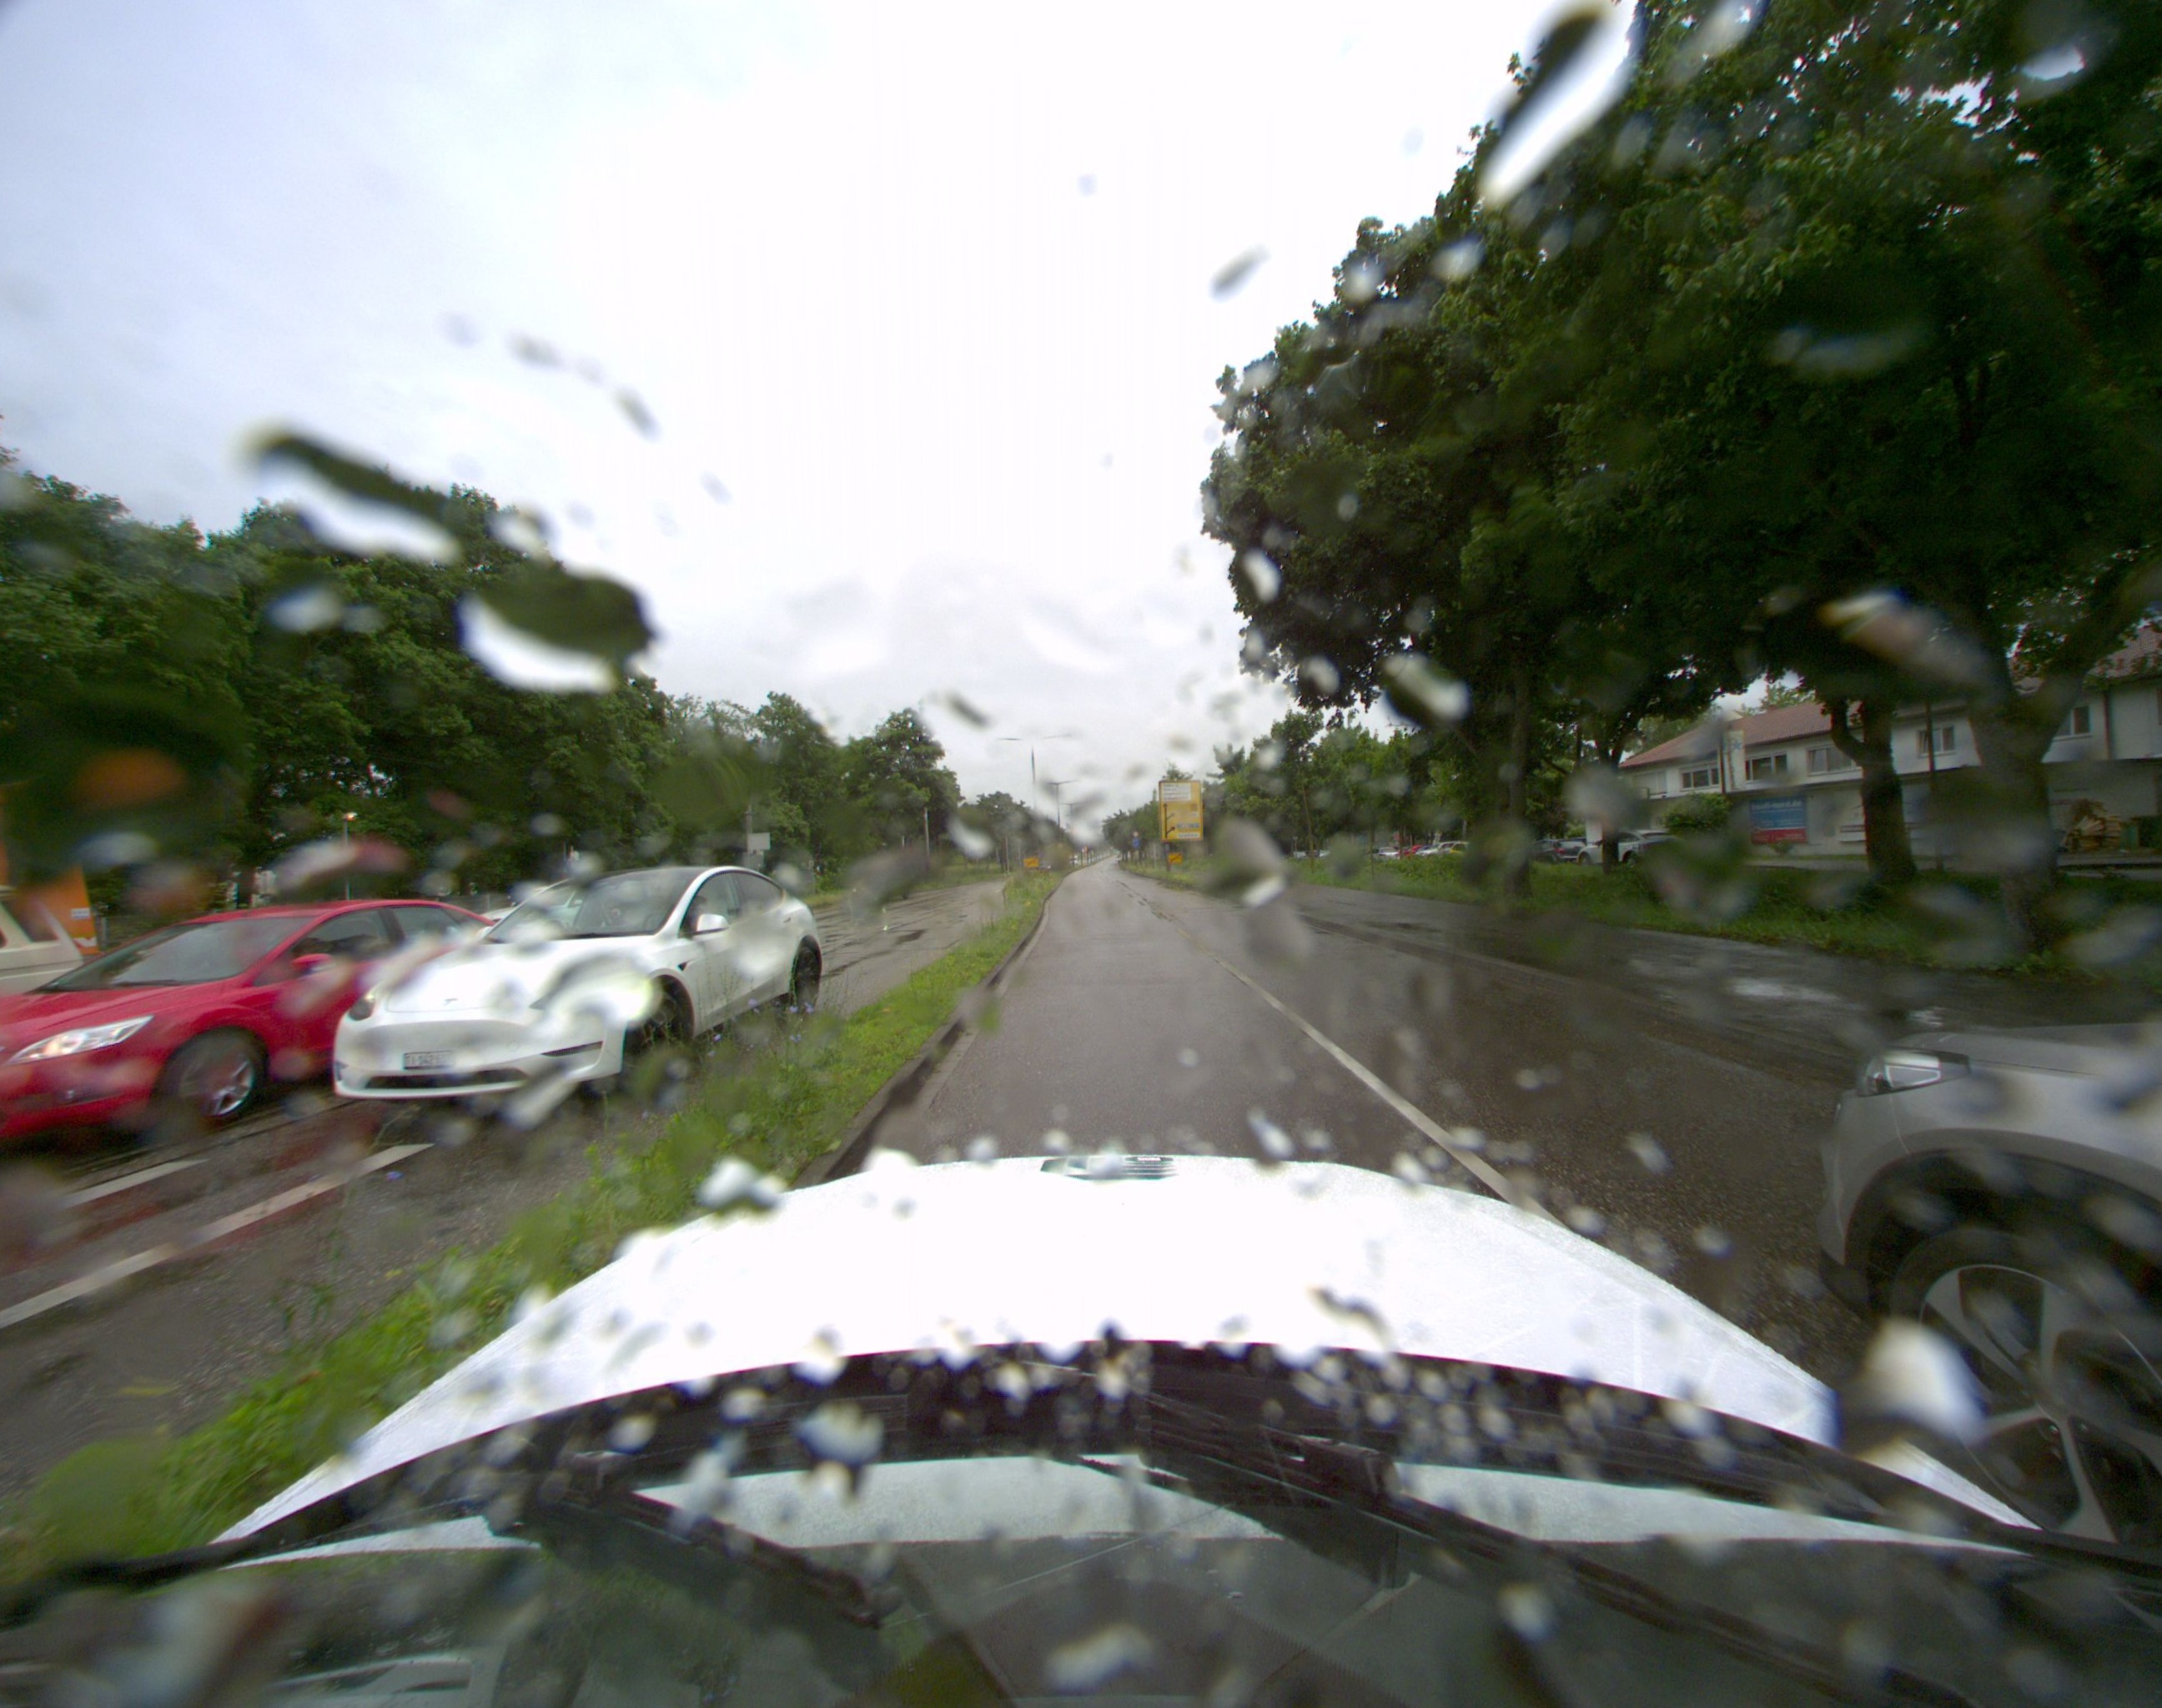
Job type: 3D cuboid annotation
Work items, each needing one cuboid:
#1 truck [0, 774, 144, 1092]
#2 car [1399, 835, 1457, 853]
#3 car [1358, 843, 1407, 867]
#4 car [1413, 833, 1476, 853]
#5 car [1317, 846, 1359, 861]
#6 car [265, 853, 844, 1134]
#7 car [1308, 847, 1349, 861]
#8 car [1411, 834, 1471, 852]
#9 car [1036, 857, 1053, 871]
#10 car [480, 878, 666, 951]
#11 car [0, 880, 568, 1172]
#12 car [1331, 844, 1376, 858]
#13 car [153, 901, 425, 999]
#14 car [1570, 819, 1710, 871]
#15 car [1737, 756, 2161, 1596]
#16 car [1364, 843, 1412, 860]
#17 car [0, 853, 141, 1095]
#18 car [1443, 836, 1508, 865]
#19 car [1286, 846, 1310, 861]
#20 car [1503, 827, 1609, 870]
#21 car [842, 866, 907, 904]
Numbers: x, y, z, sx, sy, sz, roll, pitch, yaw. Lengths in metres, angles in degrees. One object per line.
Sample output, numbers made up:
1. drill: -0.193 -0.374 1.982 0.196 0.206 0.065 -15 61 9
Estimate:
1. truck: -15.971 1.006 7.064 3.372 4.167 10.411 -1 -1 2
2. car: 30.758 -0.914 72.216 4.323 1.484 1.944 -1 -1 -2
3. car: 22.536 0.125 61.057 1.986 1.625 4.644 -3 -1 2
4. car: 29.881 -0.902 67.050 4.323 1.503 1.922 -1 -1 -2
5. car: 31.519 -0.060 99.841 4.558 1.705 1.998 -1 -1 -2
6. car: -3.902 0.849 7.315 1.954 1.617 4.699 -3 0 2
7. car: 31.164 -0.018 102.634 4.560 1.645 1.997 -1 -1 -4
8. car: 30.851 -0.948 69.854 4.323 1.484 1.944 -1 -1 -2
9. car: -4.478 1.225 101.588 1.737 1.650 4.137 -5 0 1
10. car: -14.478 1.654 23.618 1.983 1.827 4.781 -1 -1 7
11. car: -6.686 1.092 6.828 1.794 1.569 4.429 -4 -1 1
12. car: 31.500 -0.361 94.265 4.548 1.558 1.948 -1 -1 5
13. car: -15.260 1.774 16.007 1.582 1.378 3.687 -5 -1 2
14. car: 21.280 -0.284 31.313 1.987 1.717 4.877 -3 -1 0
15. car: 2.969 0.600 0.448 1.877 1.610 4.196 -1 0 1
16. car: 32.094 -0.284 85.194 4.323 1.725 1.944 -1 -1 -2
17. car: -10.049 1.067 5.392 1.922 2.018 4.745 -4 0 2
18. car: 21.699 -0.160 44.982 1.632 1.486 4.072 -1 -1 0
19. car: 23.848 -0.120 89.530 1.737 1.445 4.127 -3 1 4
20. car: 21.407 -0.209 36.954 1.987 1.717 4.640 -3 -1 0
21. car: -10.214 1.486 40.641 1.699 1.641 4.336 -4 0 4
